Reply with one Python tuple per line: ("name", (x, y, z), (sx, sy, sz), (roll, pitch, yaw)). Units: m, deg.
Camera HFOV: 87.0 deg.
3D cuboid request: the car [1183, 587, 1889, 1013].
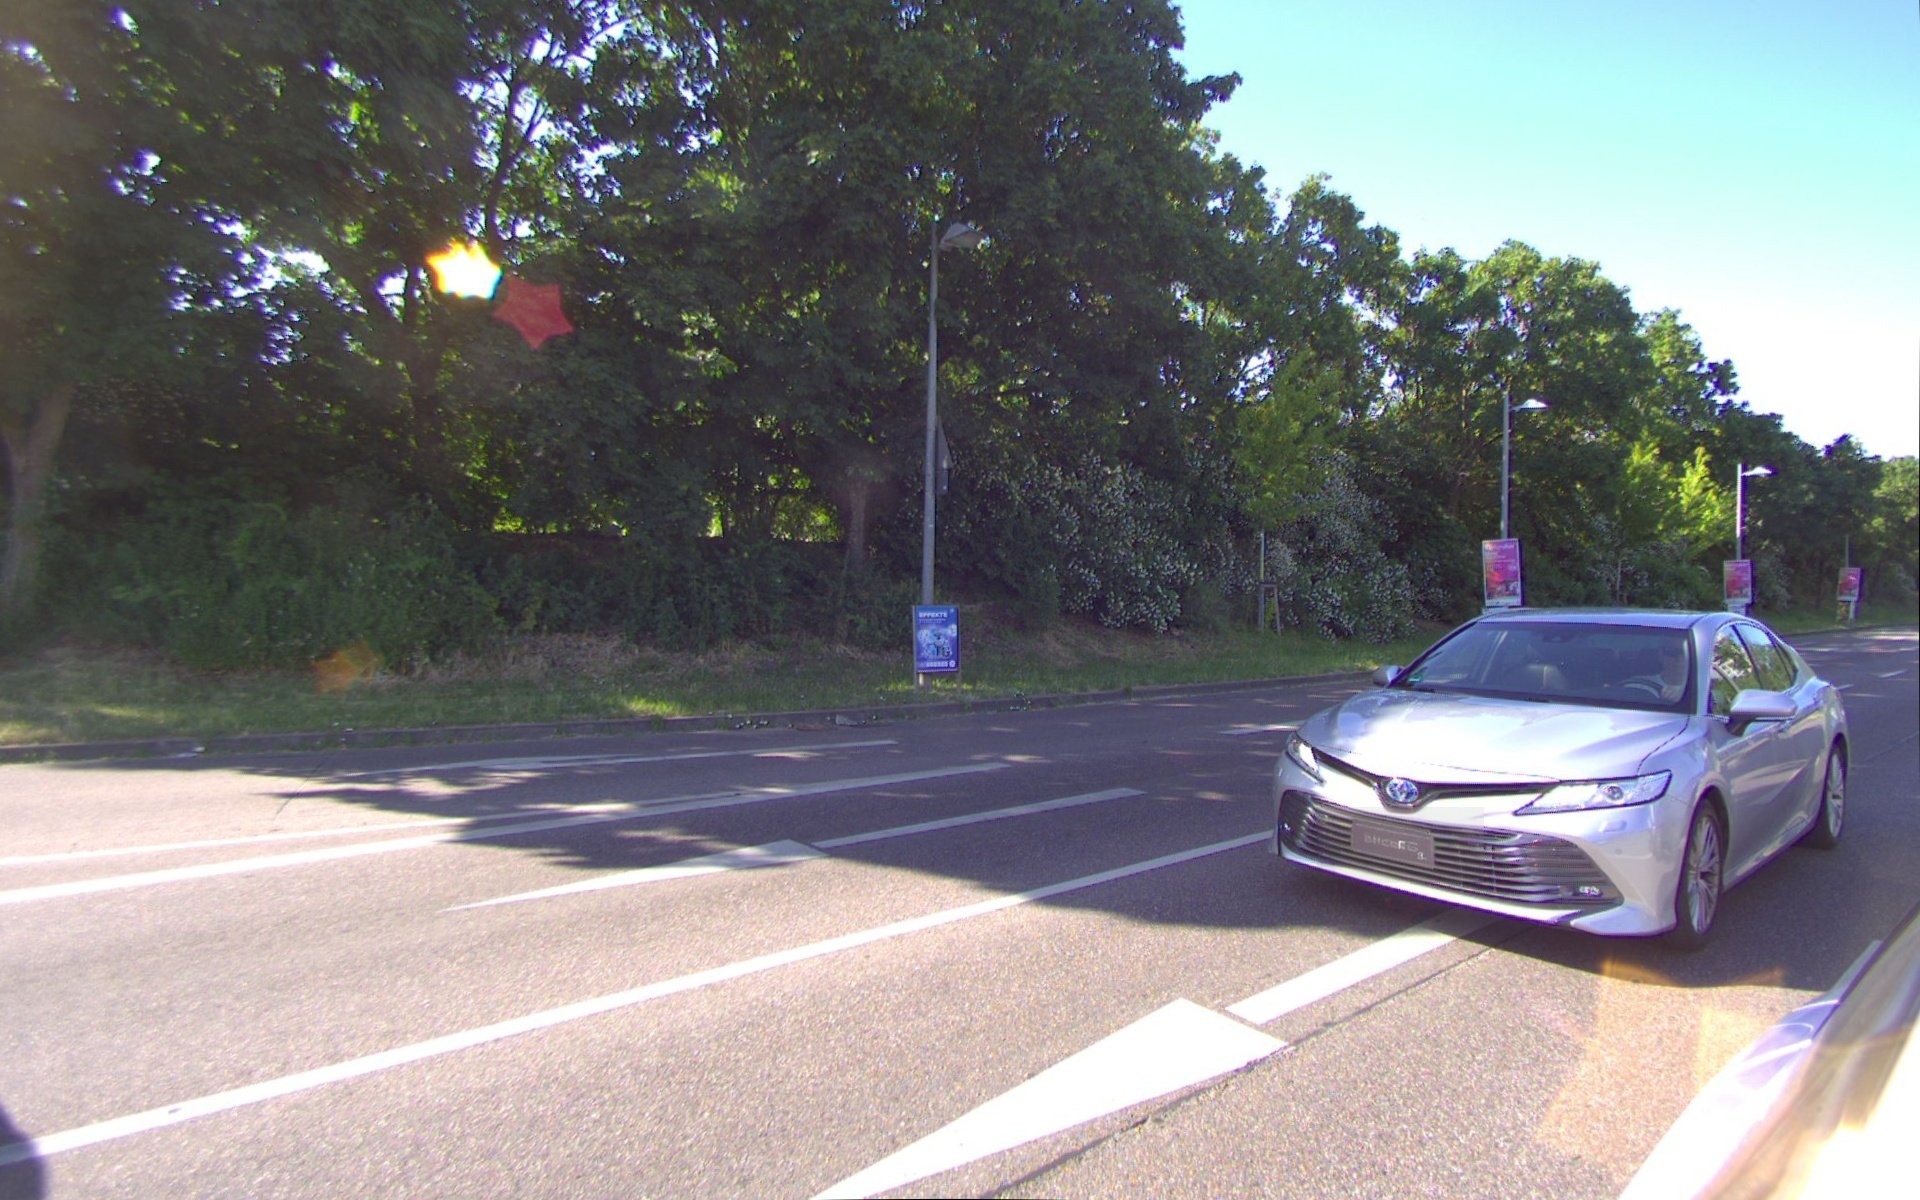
("car", (3.595, 0.695, 5.895), (4.664, 1.477, 2.069), (0, 2, -40))
